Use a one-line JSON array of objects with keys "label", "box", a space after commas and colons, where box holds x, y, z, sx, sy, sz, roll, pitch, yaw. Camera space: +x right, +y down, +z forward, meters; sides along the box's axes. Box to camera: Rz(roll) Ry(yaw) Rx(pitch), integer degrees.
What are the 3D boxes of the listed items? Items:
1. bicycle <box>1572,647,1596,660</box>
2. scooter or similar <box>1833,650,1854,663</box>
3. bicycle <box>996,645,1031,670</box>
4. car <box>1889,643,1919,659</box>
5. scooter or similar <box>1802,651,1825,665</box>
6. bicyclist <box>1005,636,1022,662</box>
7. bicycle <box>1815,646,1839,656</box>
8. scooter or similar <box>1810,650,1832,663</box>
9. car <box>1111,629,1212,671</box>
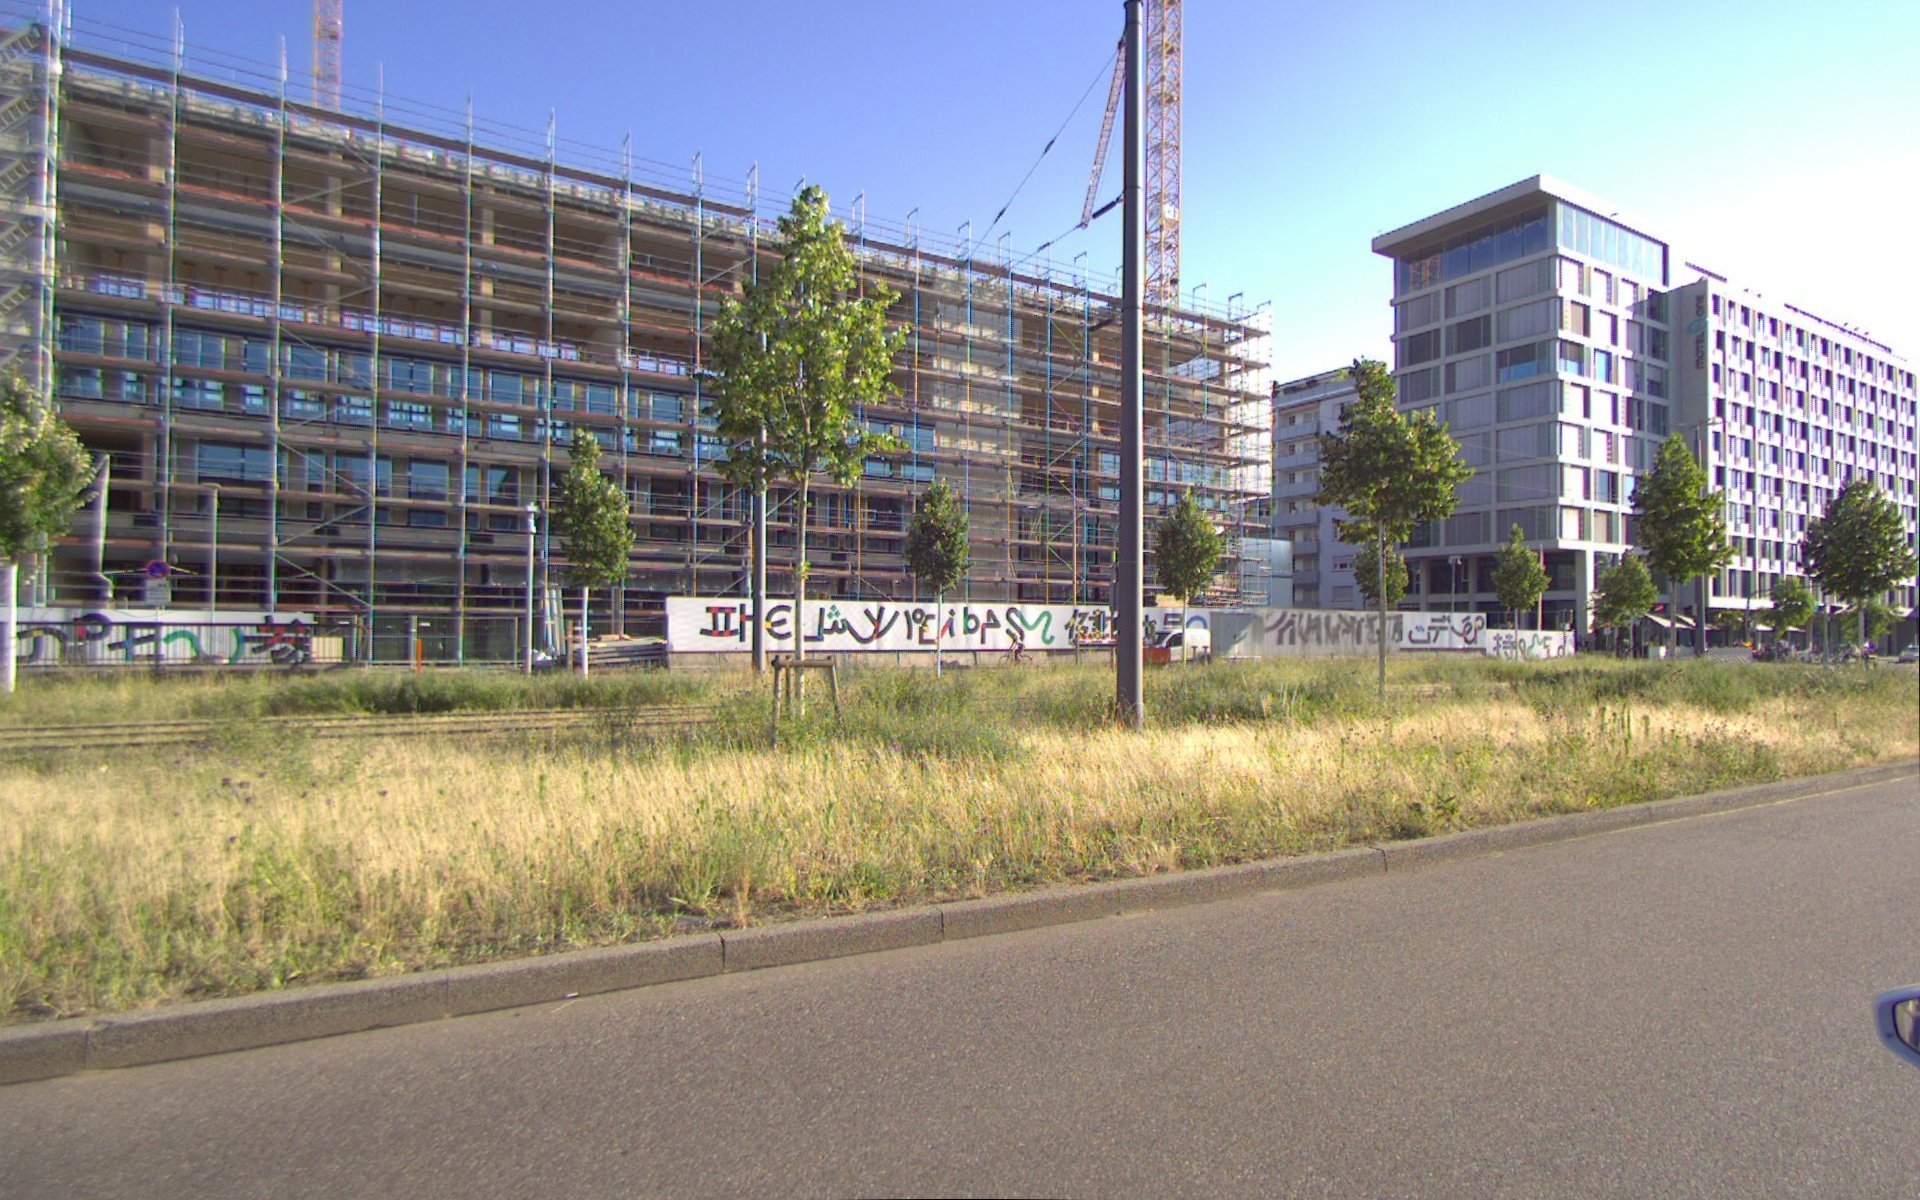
[{"label": "bicycle", "box": [47.285, 4.067, 76.091, 2.192, 0.948, 0.615, 2, -2, -32]}, {"label": "scooter or similar", "box": [72.229, 4.599, 82.102, 0.430, 1.032, 1.238, 1, -2, -30]}, {"label": "bicycle", "box": [2.434, 2.604, 45.552, 1.545, 1.075, 0.476, 1, -2, -30]}, {"label": "car", "box": [85.230, 4.591, 90.145, 3.955, 1.345, 1.748, 2, -1, -31]}, {"label": "scooter or similar", "box": [67.107, 4.541, 78.973, 0.505, 1.032, 1.238, 1, -2, -30]}, {"label": "bicyclist", "box": [2.438, 2.232, 45.556, 0.631, 1.169, 0.476, 1, -2, -30]}, {"label": "bicycle", "box": [85.478, 4.999, 99.032, 0.507, 0.917, 1.791, 2, -2, -37]}, {"label": "scooter or similar", "box": [68.376, 4.482, 79.795, 0.430, 1.032, 1.238, 1, -2, -30]}, {"label": "car", "box": [7.969, 1.947, 39.624, 3.795, 1.578, 1.598, 1, -2, -29]}]
